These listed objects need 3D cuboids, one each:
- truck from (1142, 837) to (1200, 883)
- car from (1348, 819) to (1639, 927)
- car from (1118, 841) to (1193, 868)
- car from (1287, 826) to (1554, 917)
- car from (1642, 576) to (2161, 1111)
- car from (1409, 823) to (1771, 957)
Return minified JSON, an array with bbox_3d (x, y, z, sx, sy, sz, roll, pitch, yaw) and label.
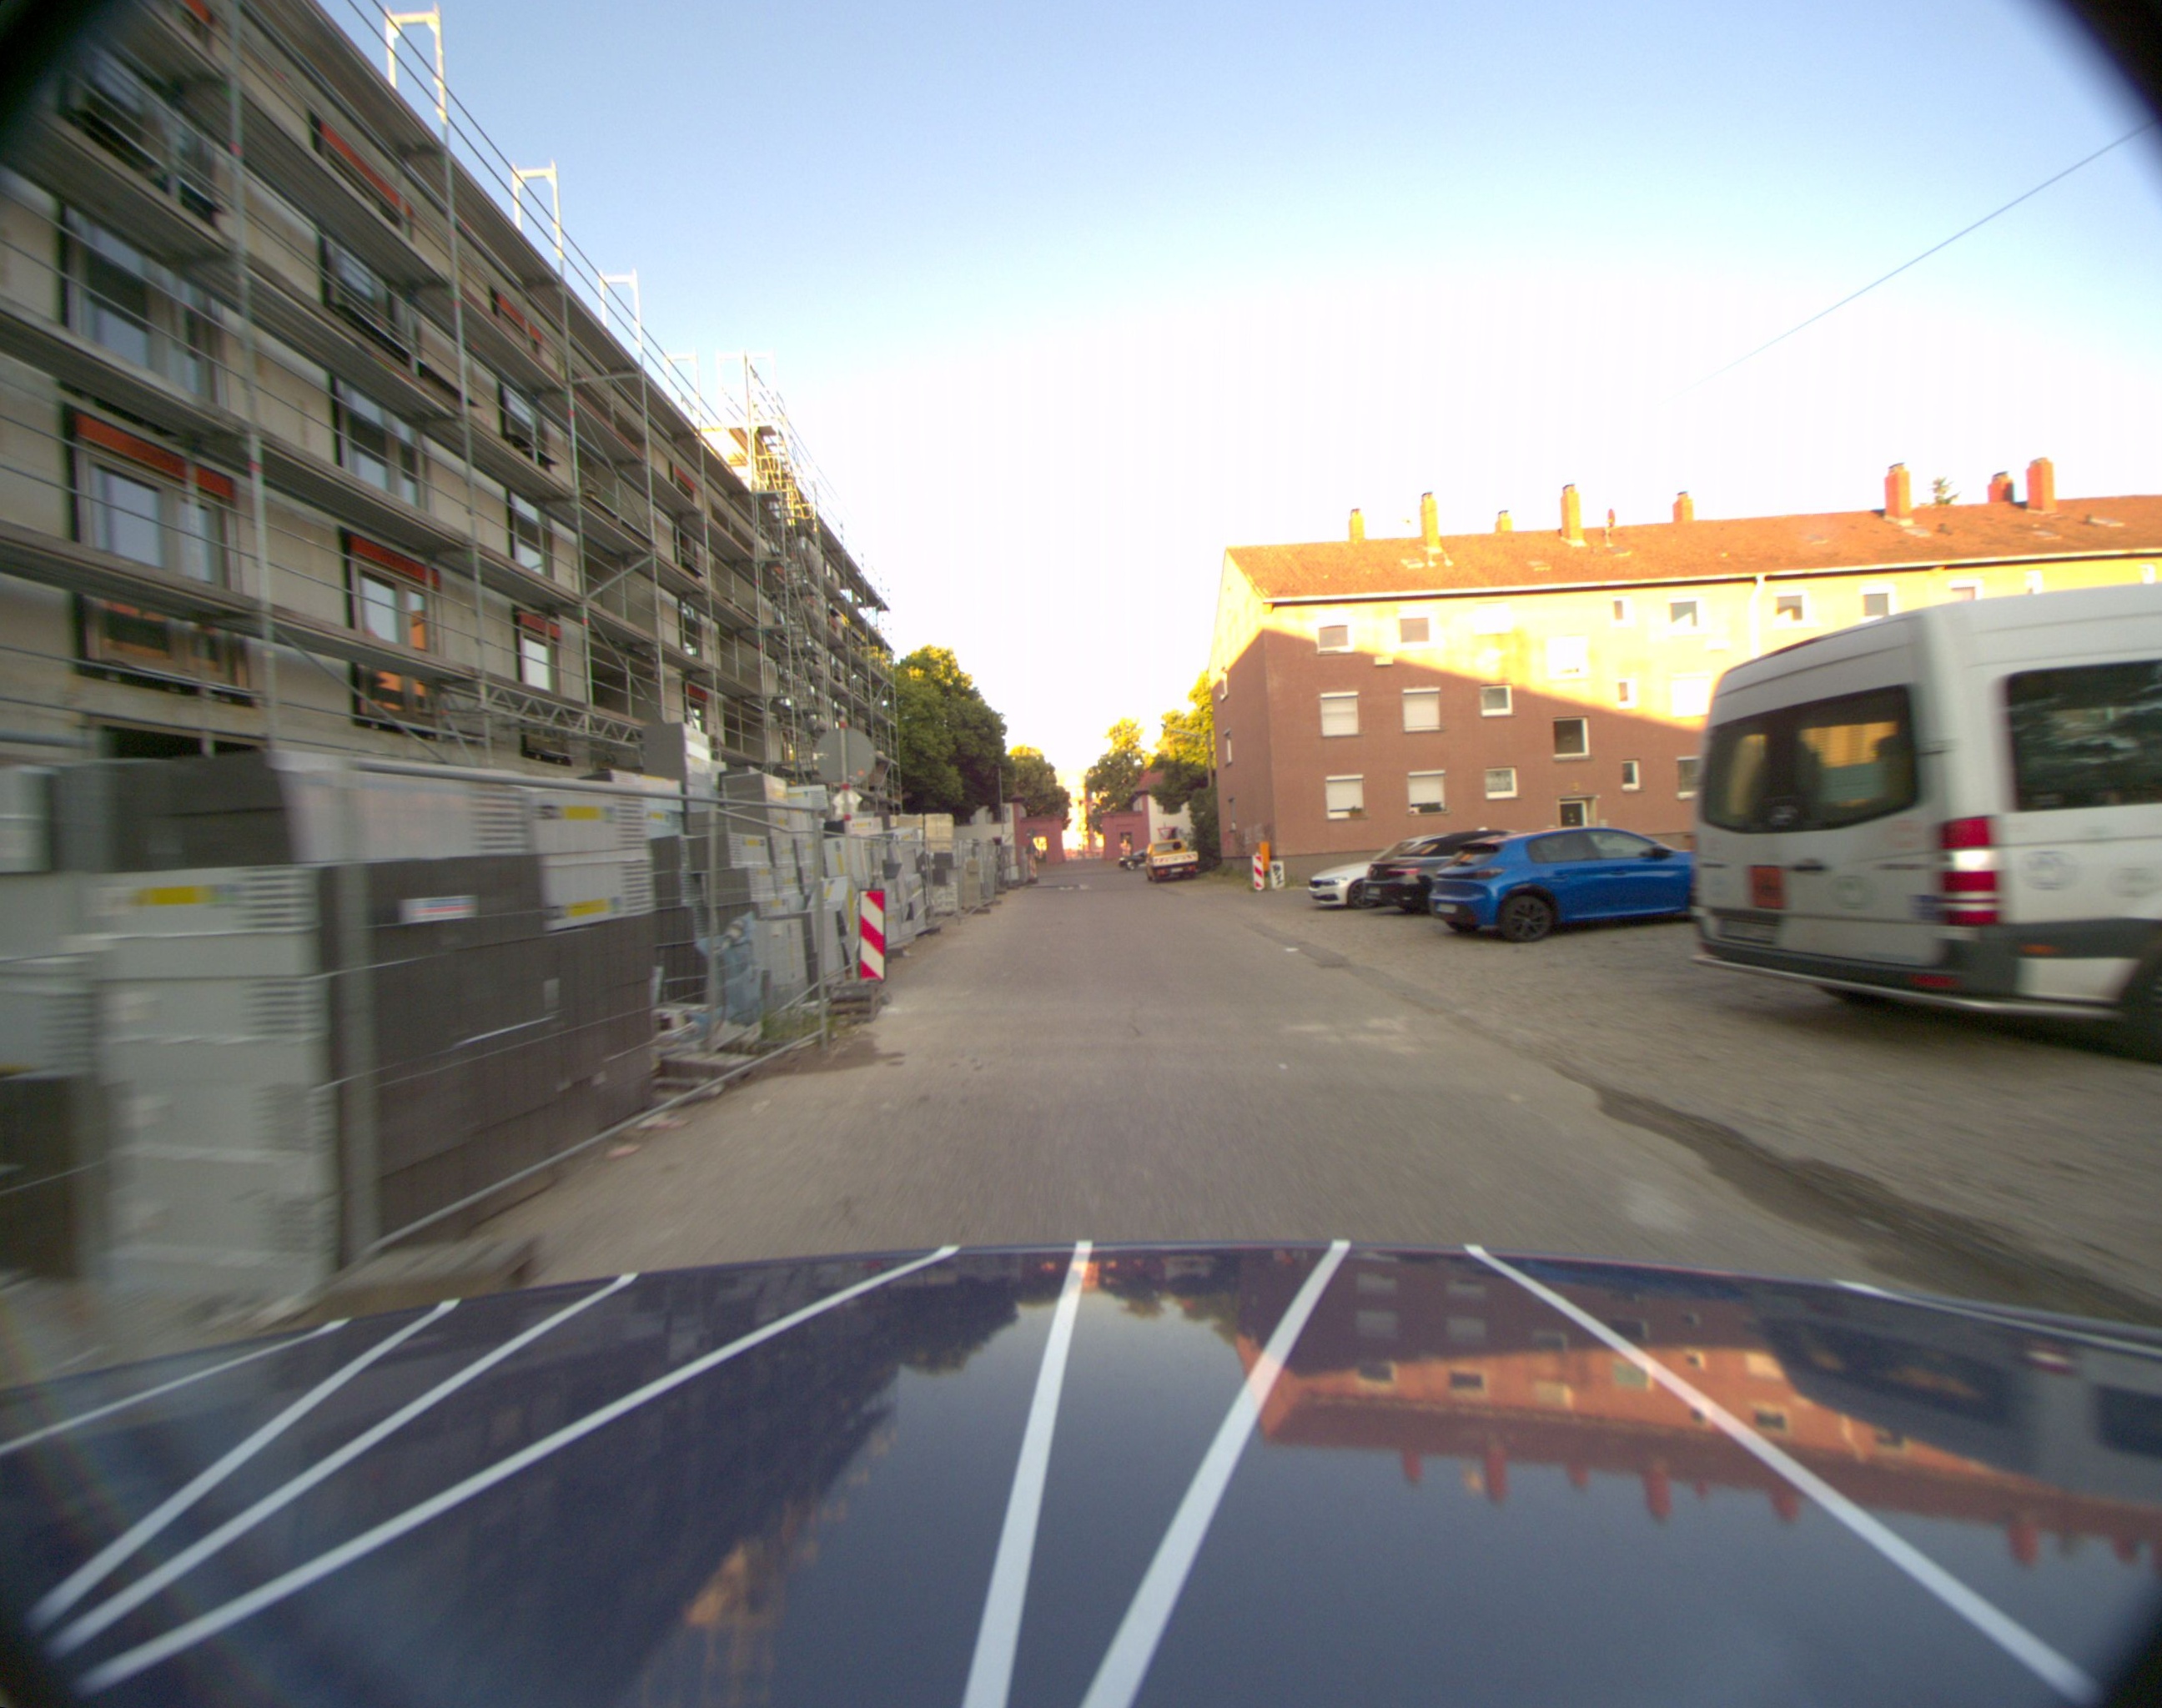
[{"bbox_3d":[4.283,0.223,37.002,2.039,1.902,5.660,-5,1,0],"label":"truck"},{"bbox_3d":[7.505,0.325,14.086,4.428,1.535,1.727,-4,1,-3],"label":"car"},{"bbox_3d":[5.487,0.026,56.155,5.304,1.654,1.816,-4,1,0],"label":"car"},{"bbox_3d":[7.477,0.355,17.092,5.008,1.535,2.115,-4,1,-4],"label":"car"},{"bbox_3d":[7.328,-0.223,4.797,5.702,2.611,2.222,-4,1,3],"label":"car"},{"bbox_3d":[6.908,0.448,10.582,3.847,1.421,1.727,-4,1,-2],"label":"car"}]
